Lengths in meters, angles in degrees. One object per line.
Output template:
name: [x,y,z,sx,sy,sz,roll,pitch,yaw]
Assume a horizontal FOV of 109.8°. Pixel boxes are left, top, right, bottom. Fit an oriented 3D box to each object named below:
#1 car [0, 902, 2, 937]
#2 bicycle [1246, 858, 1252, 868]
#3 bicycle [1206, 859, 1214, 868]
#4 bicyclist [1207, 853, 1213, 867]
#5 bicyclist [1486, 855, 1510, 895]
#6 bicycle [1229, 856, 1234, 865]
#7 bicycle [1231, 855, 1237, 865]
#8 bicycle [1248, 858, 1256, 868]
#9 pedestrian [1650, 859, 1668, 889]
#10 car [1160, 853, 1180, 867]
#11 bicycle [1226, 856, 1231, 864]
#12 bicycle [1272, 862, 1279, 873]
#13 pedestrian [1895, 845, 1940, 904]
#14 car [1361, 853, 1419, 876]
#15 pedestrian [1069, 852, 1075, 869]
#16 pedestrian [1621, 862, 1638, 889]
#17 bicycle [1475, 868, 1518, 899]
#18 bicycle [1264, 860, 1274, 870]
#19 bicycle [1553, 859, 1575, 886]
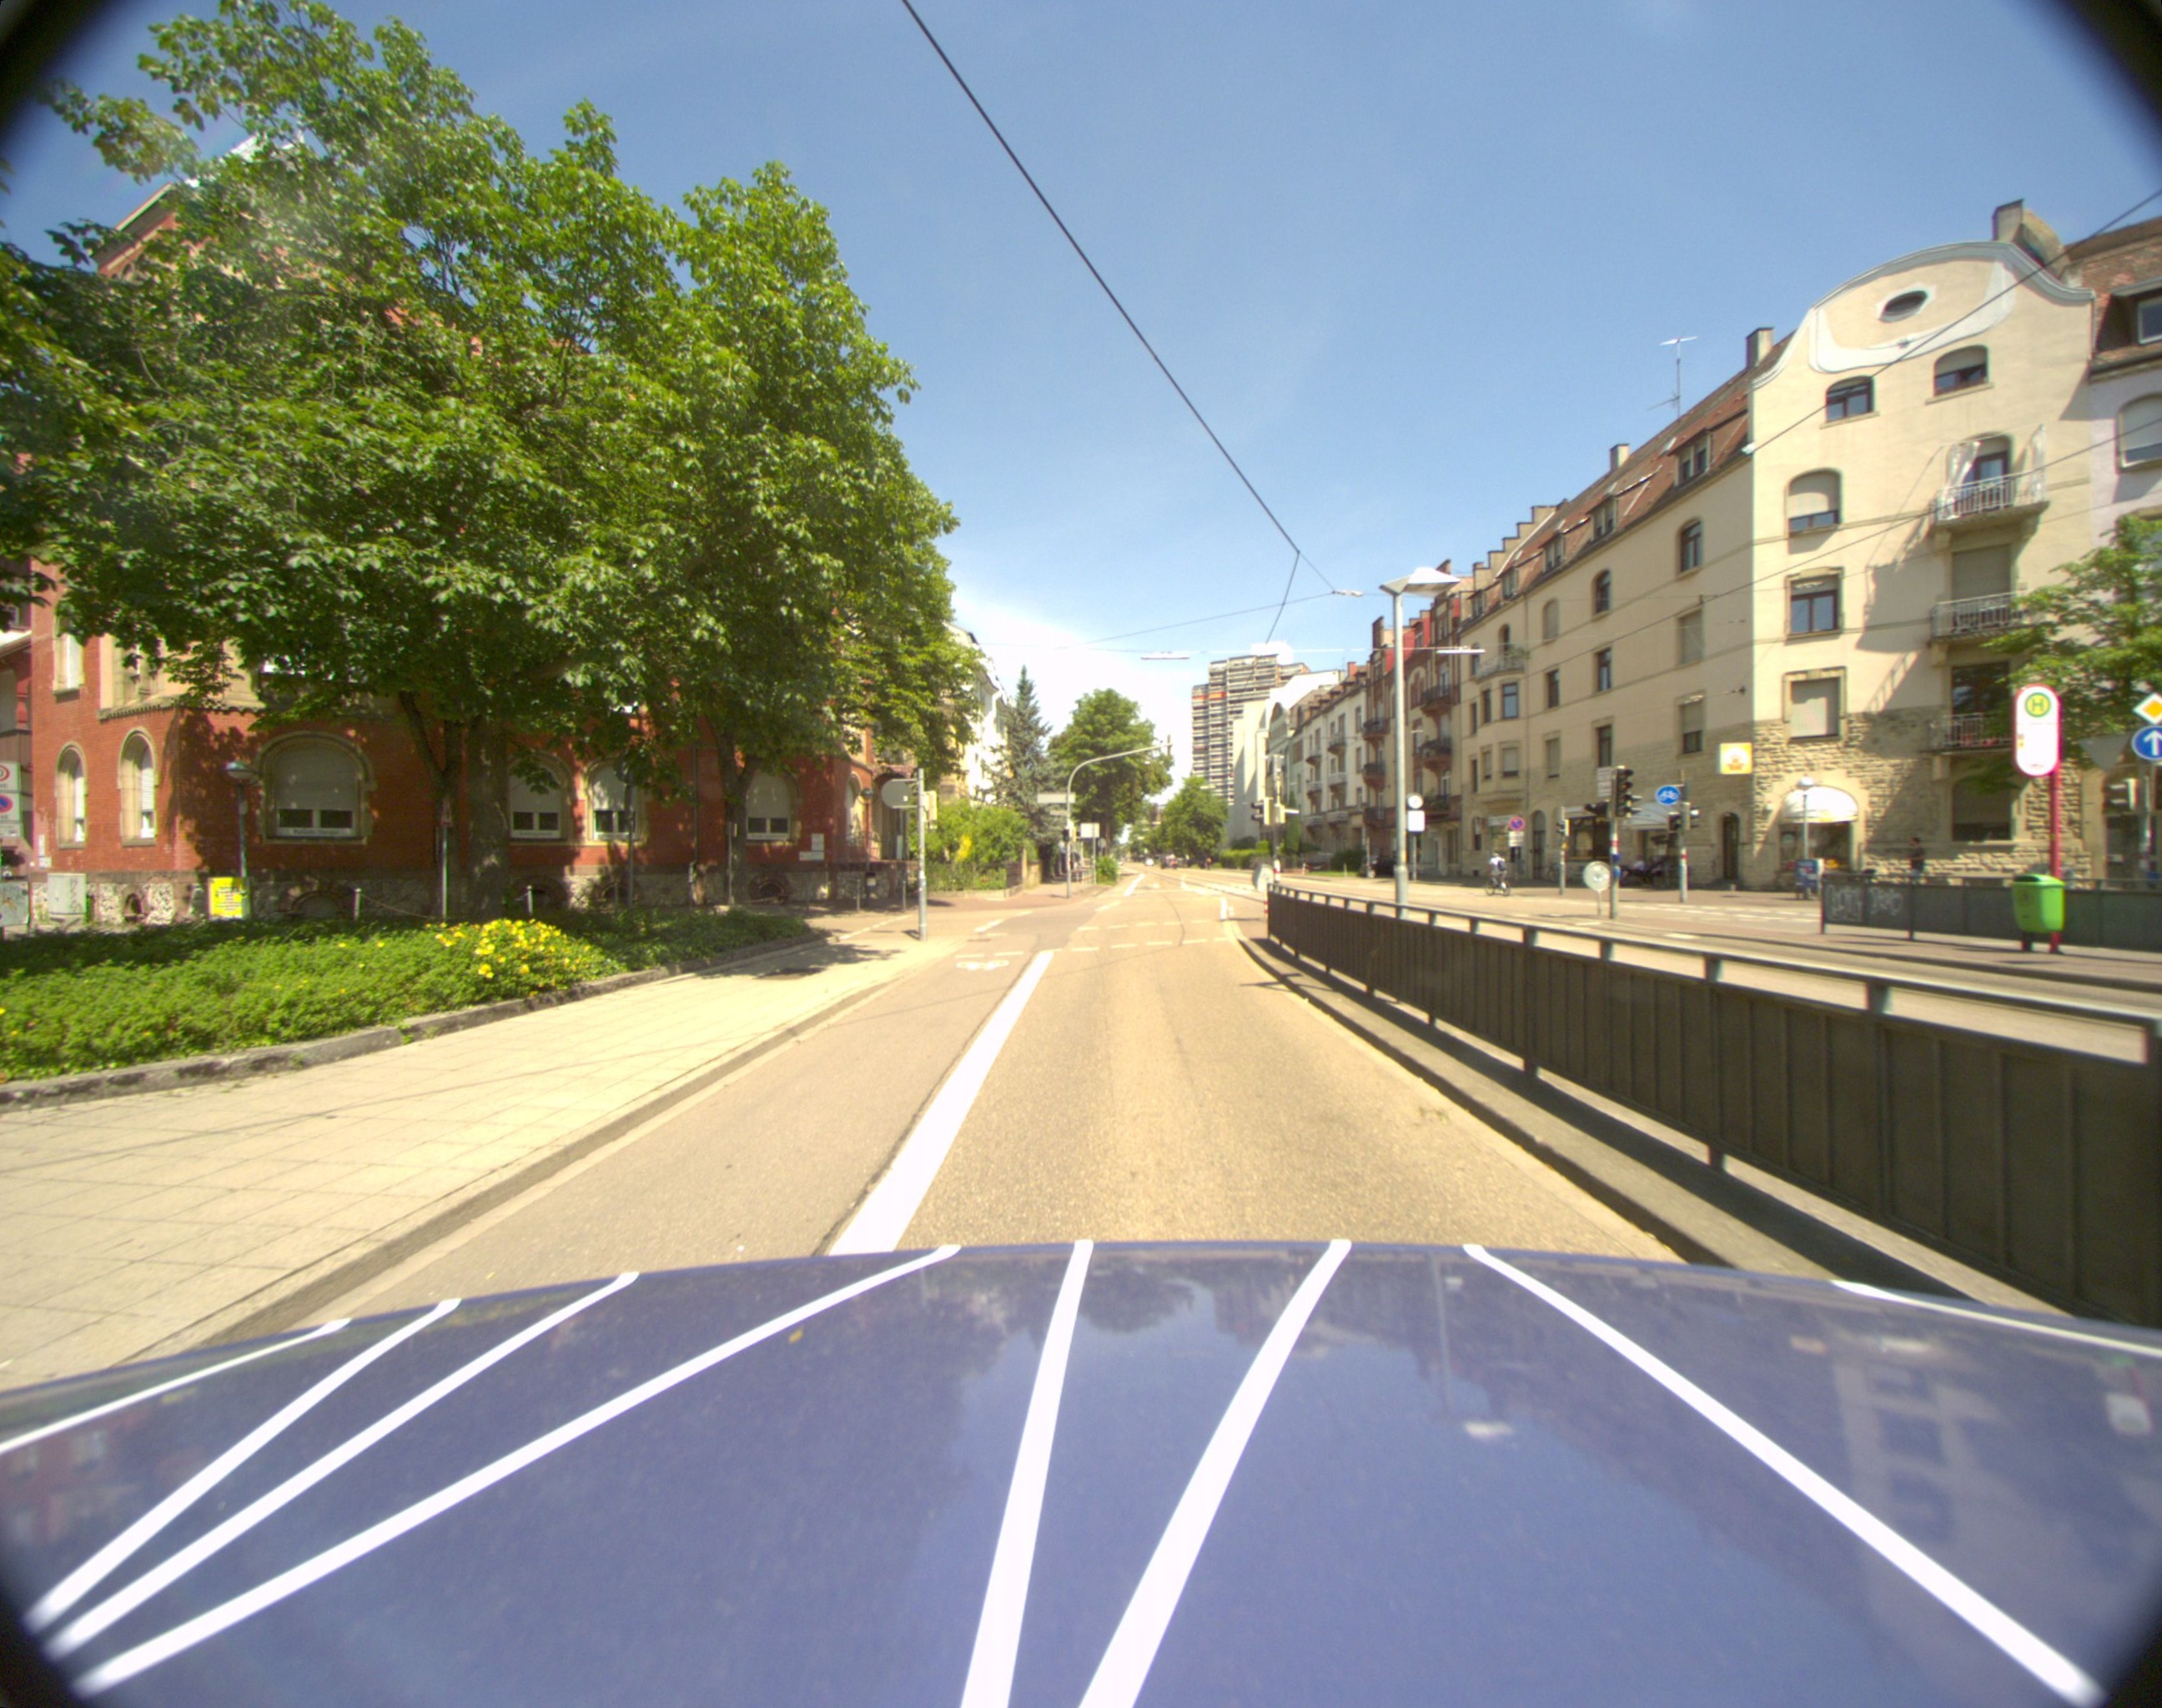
car: [-27.558,1.267,17.506,4.748,1.433,1.908,-1,1,20]
bicycle: [18.778,0.983,84.822,0.290,1.040,1.899,-1,1,1]
bicycle: [15.299,1.134,90.008,0.645,1.068,2.186,0,0,1]
bicyclist: [15.297,0.665,89.918,0.611,1.653,0.579,0,0,1]
bicyclist: [16.465,0.814,29.979,0.609,1.565,0.585,-1,1,1]
bicycle: [18.814,0.812,95.049,0.340,1.062,1.728,-1,1,1]
bicycle: [18.766,0.769,93.012,0.340,1.157,1.933,-1,1,1]
bicycle: [18.444,0.951,81.935,0.493,1.090,2.047,-1,0,1]
pedestrian: [22.762,0.776,29.924,0.406,1.142,0.405,-1,1,-2]
car: [12.677,0.839,108.375,1.849,1.926,4.820,1,1,-4]
bicycle: [18.847,0.780,96.940,0.340,1.062,1.728,-1,1,1]
bicycle: [18.112,1.250,70.697,0.253,0.911,1.614,-1,0,1]
pedestrian: [25.054,0.597,22.765,0.545,1.721,0.728,-1,1,-1]
car: [21.034,0.715,51.790,3.361,1.463,1.530,-2,0,5]
pedestrian: [-0.891,0.629,73.304,0.547,1.683,0.755,0,1,1]
pedestrian: [22.429,0.871,31.072,0.355,1.083,0.405,-1,1,-2]
bicycle: [16.466,1.147,30.180,0.629,1.150,1.978,-1,0,1]
bicycle: [18.486,1.046,74.774,0.463,0.943,1.954,-1,0,1]
bicycle: [22.828,0.851,35.957,0.454,1.218,2.083,-1,1,21]
